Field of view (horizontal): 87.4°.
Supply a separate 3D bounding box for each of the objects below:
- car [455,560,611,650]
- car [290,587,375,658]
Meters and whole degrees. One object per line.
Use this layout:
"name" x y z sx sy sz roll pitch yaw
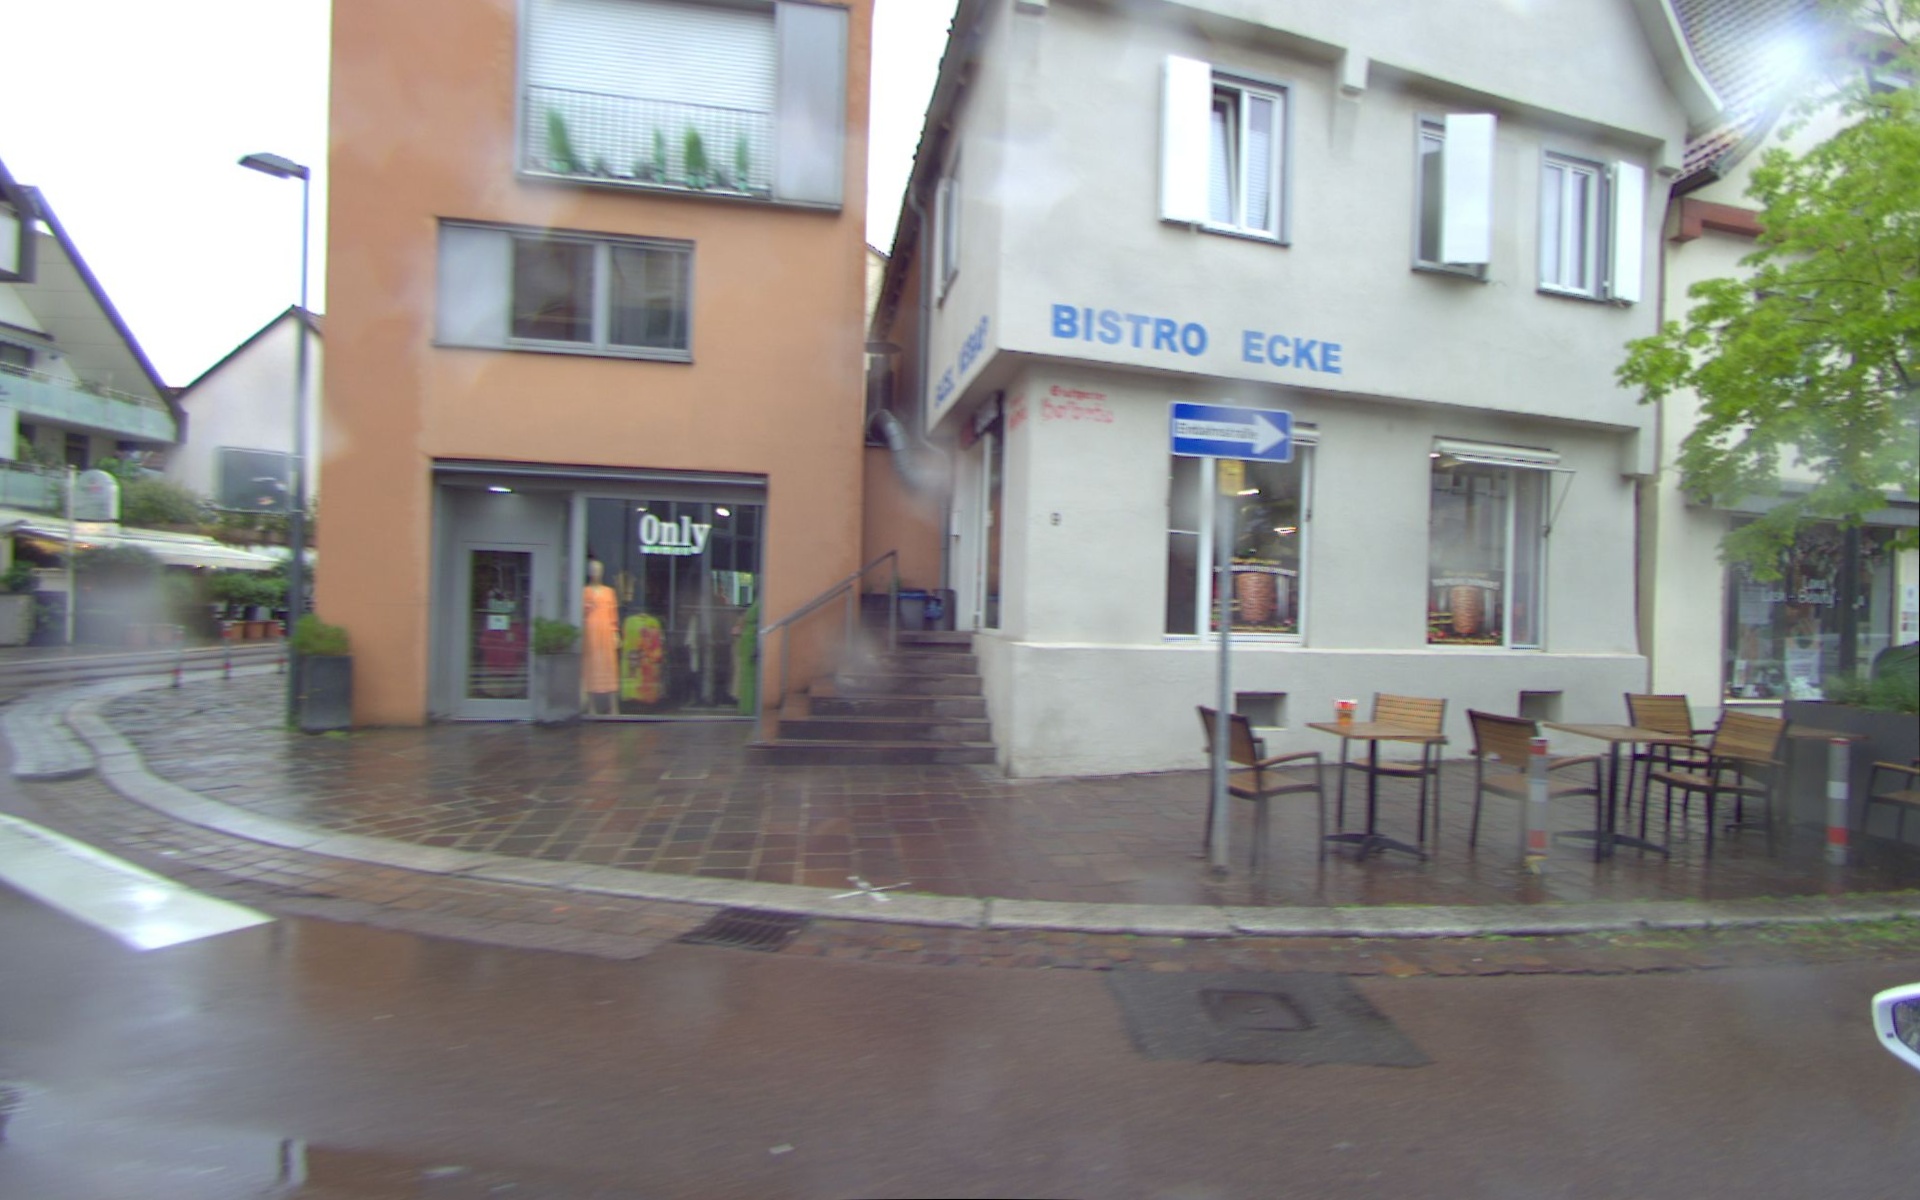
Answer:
"car" -12.690 0.170 30.405 2.168 2.329 5.960 3 -1 -1
"car" -20.143 0.679 32.399 1.976 2.040 3.828 3 -1 -29
